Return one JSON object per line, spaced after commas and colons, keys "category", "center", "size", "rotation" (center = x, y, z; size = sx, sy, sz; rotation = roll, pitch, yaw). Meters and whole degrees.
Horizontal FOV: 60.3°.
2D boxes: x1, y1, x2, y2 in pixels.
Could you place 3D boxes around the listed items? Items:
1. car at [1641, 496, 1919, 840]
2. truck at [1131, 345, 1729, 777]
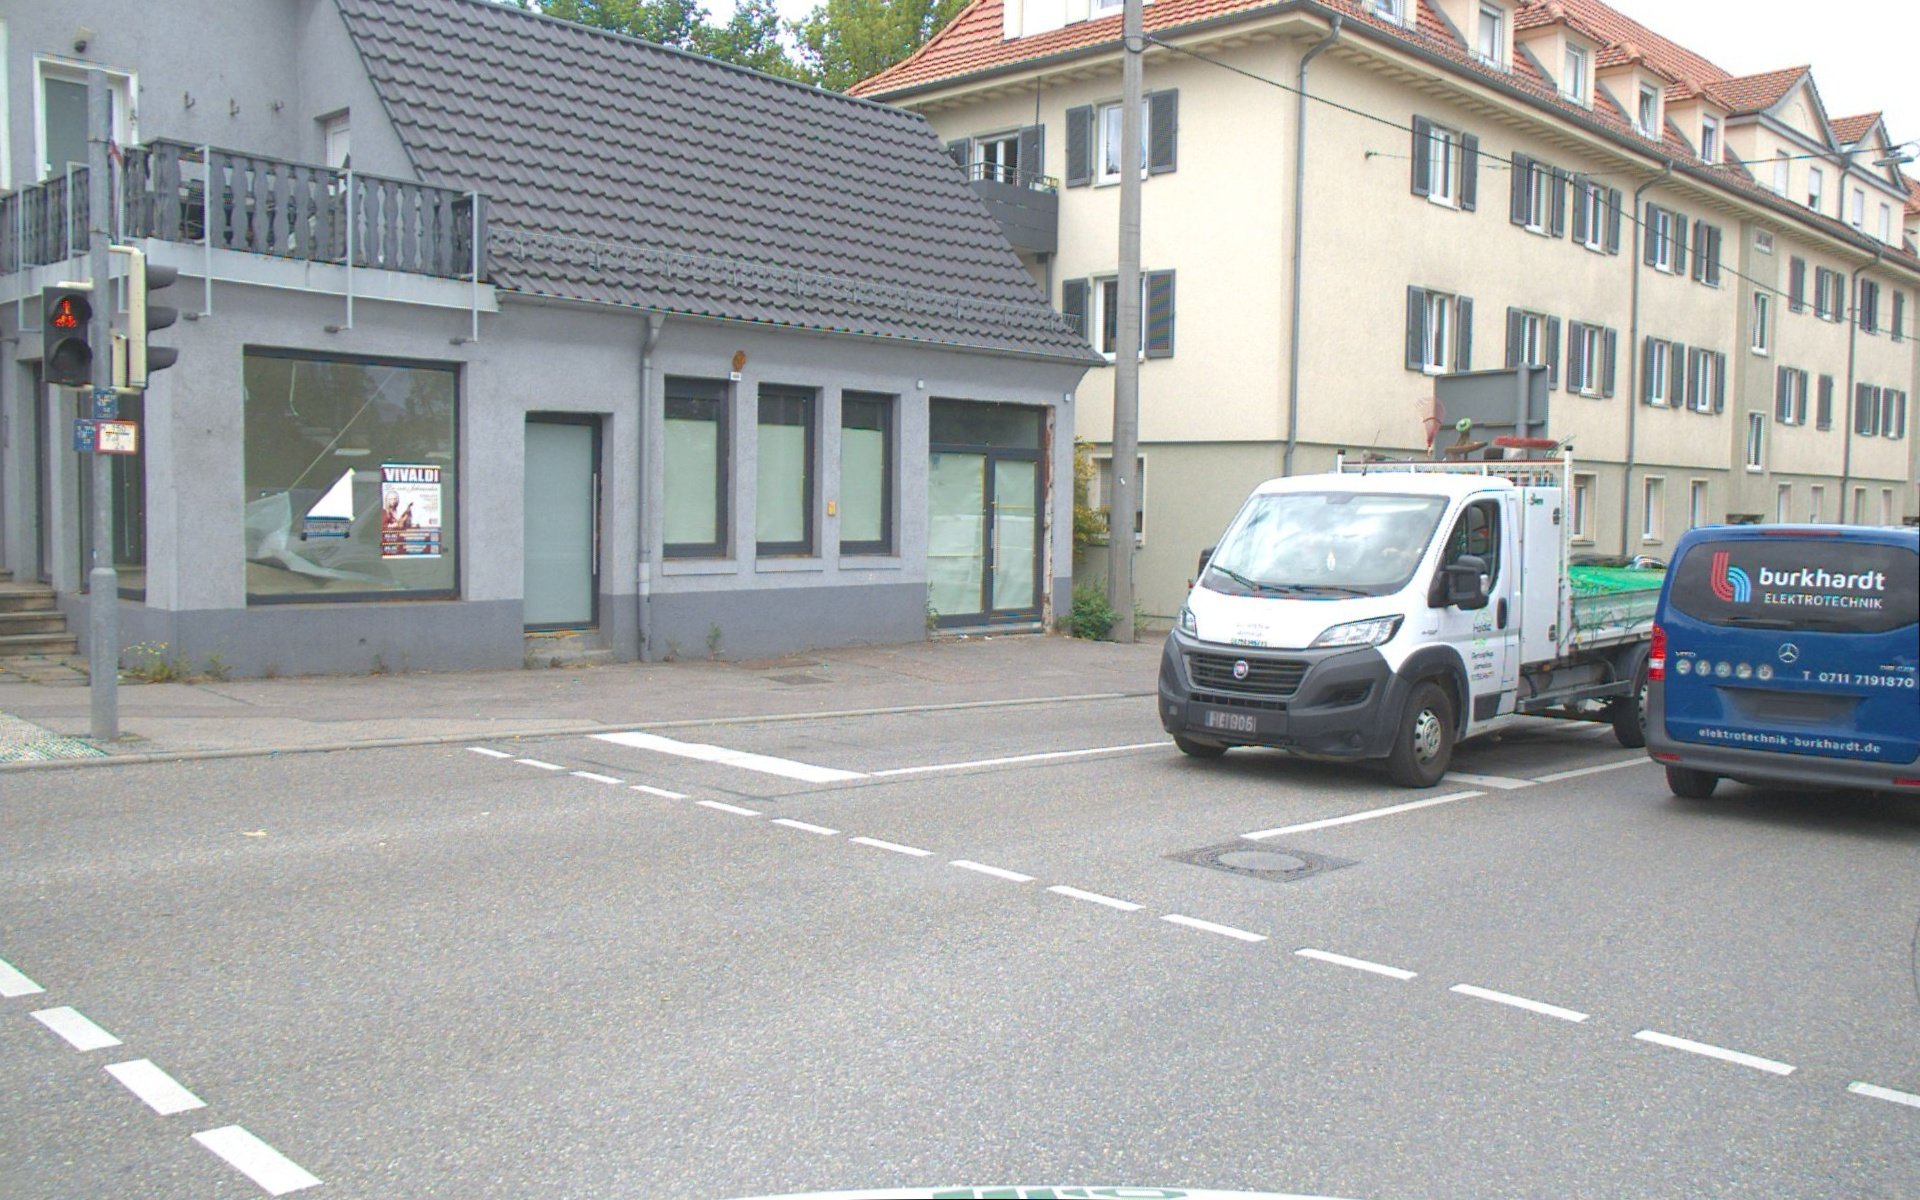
{"category": "car", "center": [6.567, 0.329, 11.722], "size": [1.918, 1.999, 4.517], "rotation": [1, 2, 40]}
{"category": "truck", "center": [4.137, -0.274, 13.536], "size": [1.966, 2.748, 6.364], "rotation": [1, 1, 44]}
